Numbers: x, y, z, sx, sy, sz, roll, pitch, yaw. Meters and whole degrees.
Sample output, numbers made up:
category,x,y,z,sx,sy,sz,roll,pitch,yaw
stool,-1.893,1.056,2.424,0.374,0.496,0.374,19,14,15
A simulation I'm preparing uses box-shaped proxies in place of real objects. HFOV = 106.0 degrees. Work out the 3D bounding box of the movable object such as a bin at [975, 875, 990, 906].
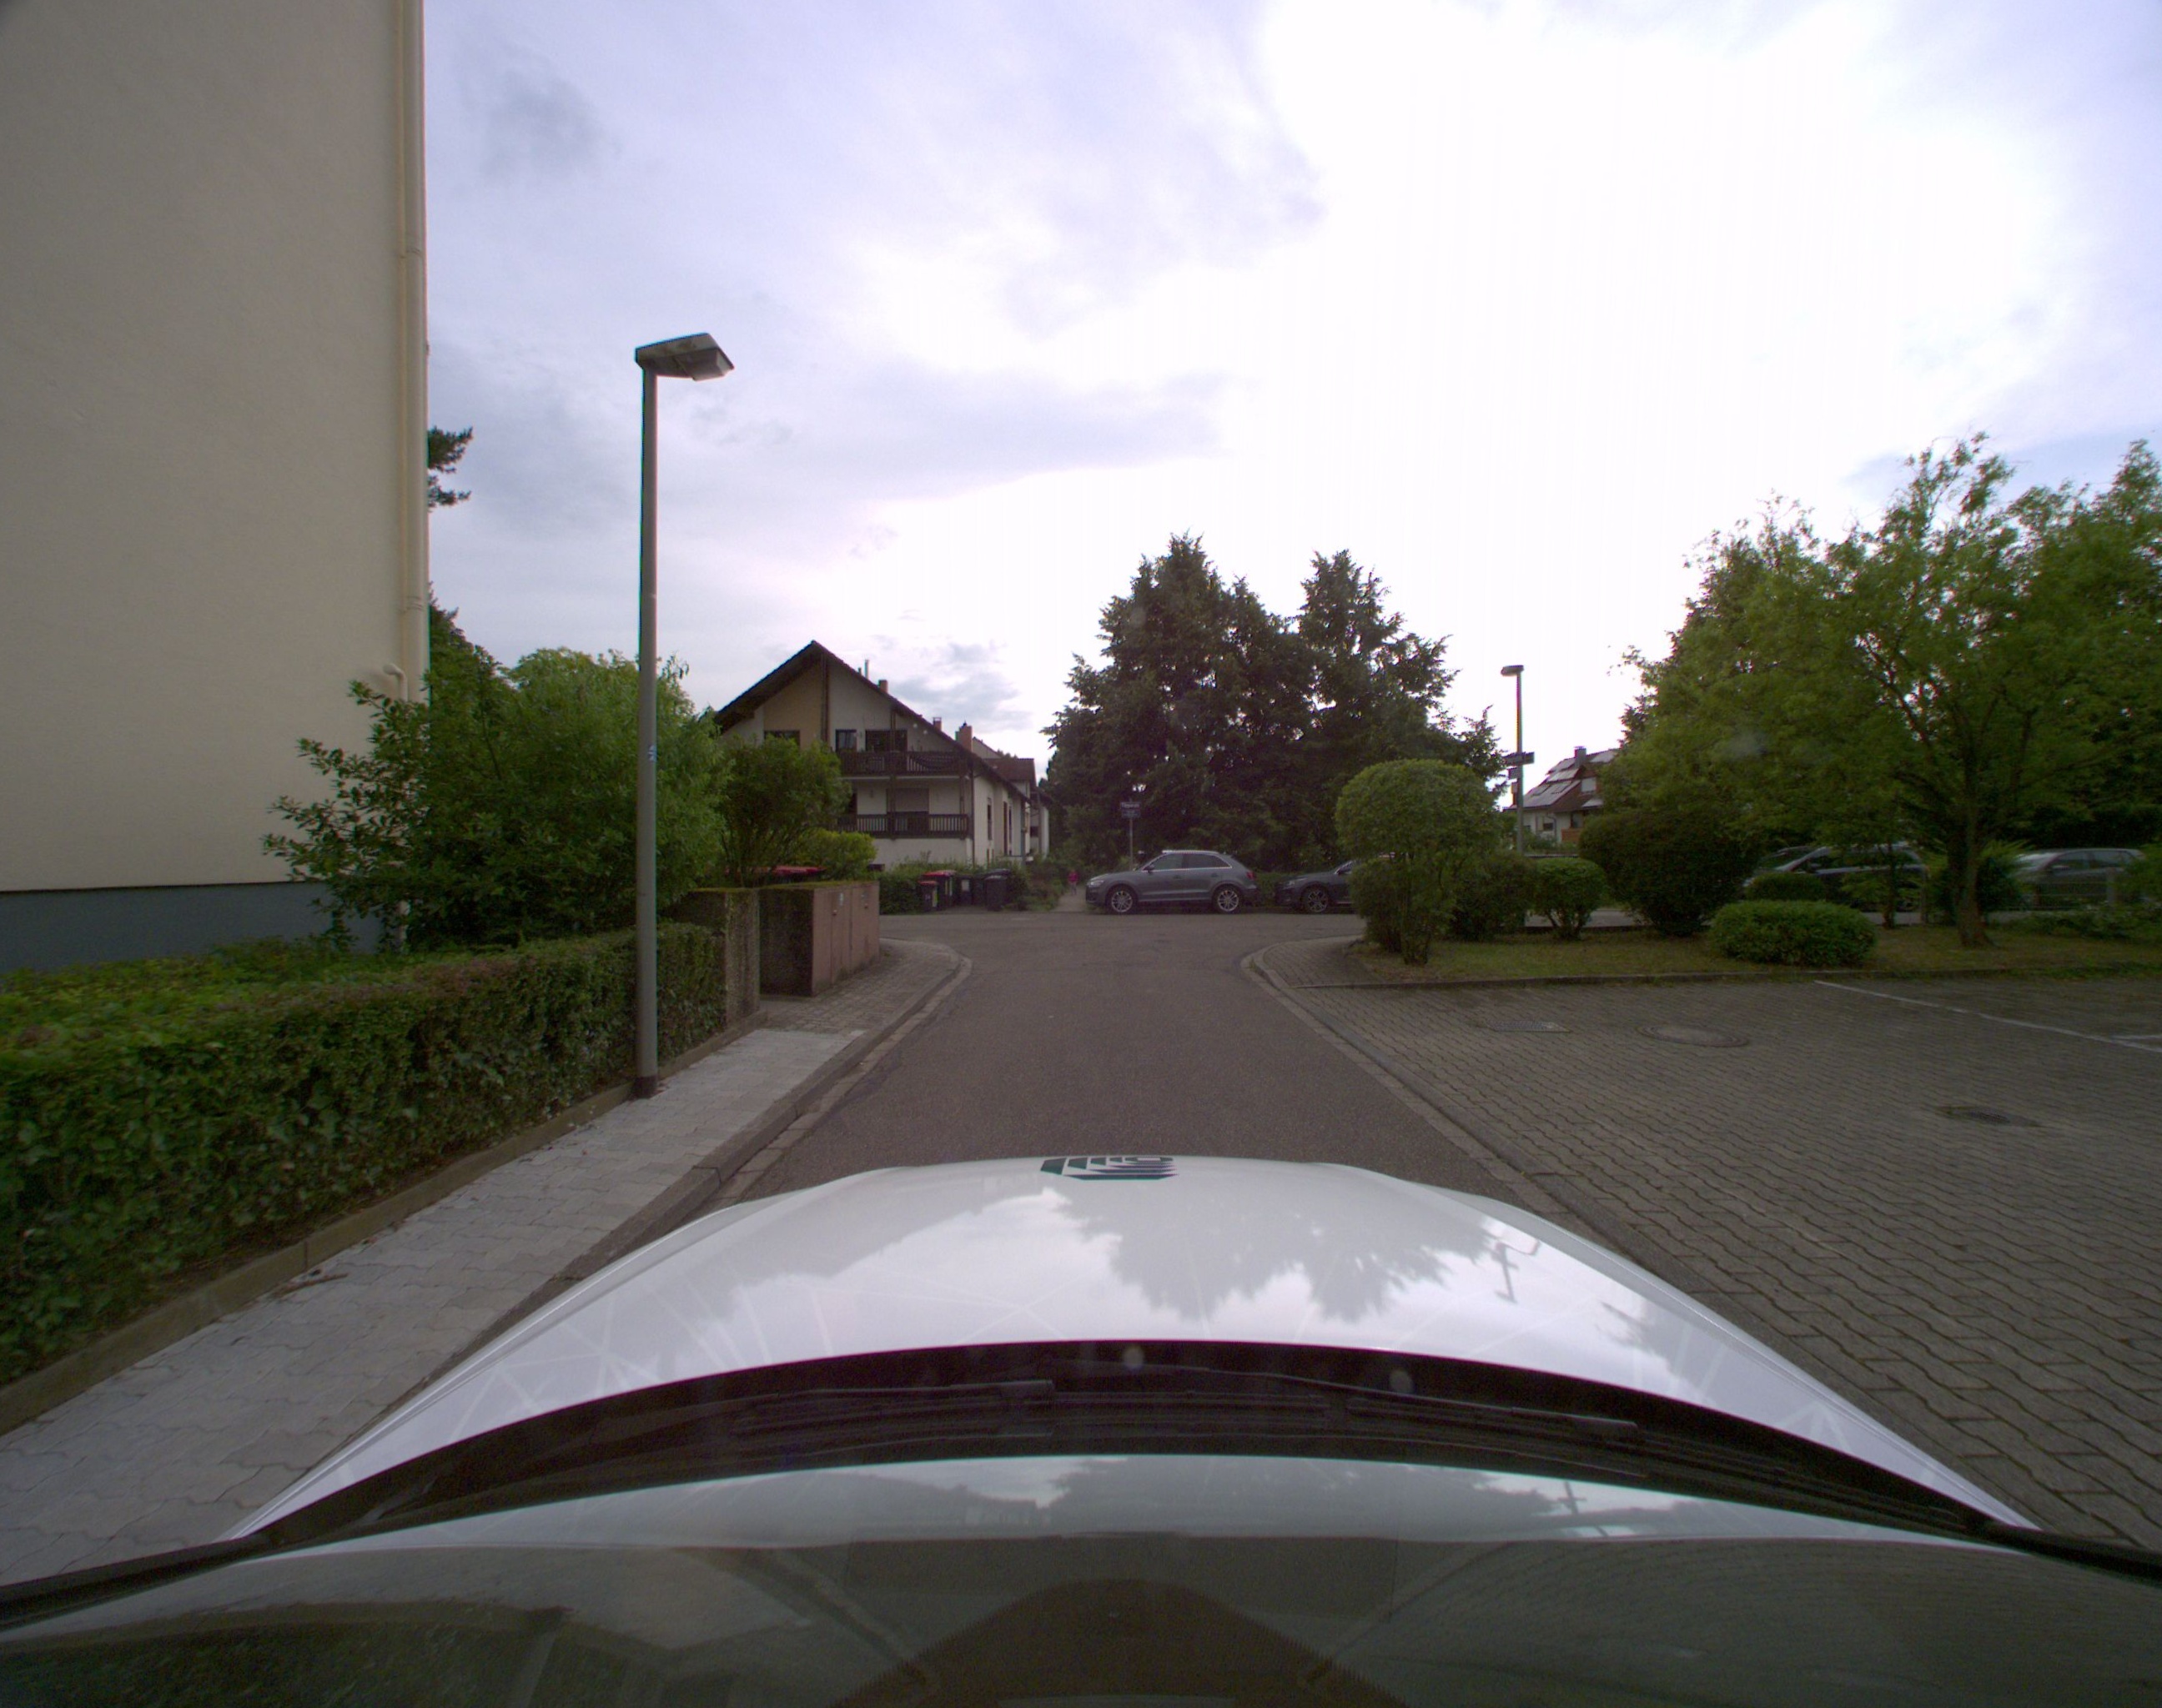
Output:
category,x,y,z,sx,sy,sz,roll,pitch,yaw
movable object such as a bin,-2.921,1.075,24.183,0.385,0.890,0.379,0,0,-2

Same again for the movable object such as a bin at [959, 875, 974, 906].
category,x,y,z,sx,sy,sz,roll,pitch,yaw
movable object such as a bin,-3.396,1.065,24.144,0.385,0.901,0.379,0,0,-2

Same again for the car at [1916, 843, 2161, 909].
category,x,y,z,sx,sy,sz,roll,pitch,yaw
car,23.229,0.544,19.553,4.270,1.479,1.765,-1,-2,5

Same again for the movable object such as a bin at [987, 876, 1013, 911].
category,x,y,z,sx,sy,sz,roll,pitch,yaw
movable object such as a bin,-2.254,1.087,22.649,0.636,0.953,0.723,0,0,0

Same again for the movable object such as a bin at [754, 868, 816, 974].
category,x,y,z,sx,sy,sz,roll,pitch,yaw
movable object such as a bin,-3.482,0.774,9.599,0.503,1.187,0.515,-2,0,-1

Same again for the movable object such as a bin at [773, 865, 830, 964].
category,x,y,z,sx,sy,sz,roll,pitch,yaw
movable object such as a bin,-3.507,0.742,10.238,0.503,1.187,0.515,-2,0,-1

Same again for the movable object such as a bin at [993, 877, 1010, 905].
category,x,y,z,sx,sy,sz,roll,pitch,yaw
movable object such as a bin,-2.346,1.086,23.953,0.458,0.797,0.379,0,0,-2

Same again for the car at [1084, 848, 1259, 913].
category,x,y,z,sx,sy,sz,roll,pitch,yaw
car,2.198,0.673,20.532,4.223,1.531,1.747,0,-2,0

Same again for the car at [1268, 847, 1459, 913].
category,x,y,z,sx,sy,sz,roll,pitch,yaw
car,6.859,0.655,20.123,4.161,1.531,1.749,-1,-2,5

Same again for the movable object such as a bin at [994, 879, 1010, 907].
category,x,y,z,sx,sy,sz,roll,pitch,yaw
movable object such as a bin,-2.360,1.163,24.379,0.458,0.797,0.379,0,0,-2

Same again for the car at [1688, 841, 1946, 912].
category,x,y,z,sx,sy,sz,roll,pitch,yaw
car,17.642,0.553,19.706,4.519,1.594,1.764,-1,-2,3

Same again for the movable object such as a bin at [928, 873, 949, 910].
category,x,y,z,sx,sy,sz,roll,pitch,yaw
movable object such as a bin,-3.983,1.048,22.802,0.536,0.994,0.379,0,0,-2

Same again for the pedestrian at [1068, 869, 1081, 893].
category,x,y,z,sx,sy,sz,roll,pitch,yaw
pedestrian,-0.425,1.750,52.414,0.813,1.517,0.438,-1,-1,-2

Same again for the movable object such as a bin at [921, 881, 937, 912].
category,x,y,z,sx,sy,sz,roll,pitch,yaw
movable object such as a bin,-4.163,1.156,22.323,0.385,0.836,0.379,0,0,-2

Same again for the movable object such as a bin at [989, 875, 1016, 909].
category,x,y,z,sx,sy,sz,roll,pitch,yaw
movable object such as a bin,-2.249,1.087,23.393,0.731,0.953,0.584,0,0,0

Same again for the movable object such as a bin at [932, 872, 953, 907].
category,x,y,z,sx,sy,sz,roll,pitch,yaw
movable object such as a bin,-3.996,1.014,23.530,0.536,0.994,0.337,0,0,-2

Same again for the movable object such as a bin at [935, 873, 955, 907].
category,x,y,z,sx,sy,sz,roll,pitch,yaw
movable object such as a bin,-4.000,1.054,24.015,0.536,0.994,0.337,0,0,-2

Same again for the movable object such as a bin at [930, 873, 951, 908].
category,x,y,z,sx,sy,sz,roll,pitch,yaw
movable object such as a bin,-3.987,1.039,23.173,0.536,0.994,0.337,0,0,-2
